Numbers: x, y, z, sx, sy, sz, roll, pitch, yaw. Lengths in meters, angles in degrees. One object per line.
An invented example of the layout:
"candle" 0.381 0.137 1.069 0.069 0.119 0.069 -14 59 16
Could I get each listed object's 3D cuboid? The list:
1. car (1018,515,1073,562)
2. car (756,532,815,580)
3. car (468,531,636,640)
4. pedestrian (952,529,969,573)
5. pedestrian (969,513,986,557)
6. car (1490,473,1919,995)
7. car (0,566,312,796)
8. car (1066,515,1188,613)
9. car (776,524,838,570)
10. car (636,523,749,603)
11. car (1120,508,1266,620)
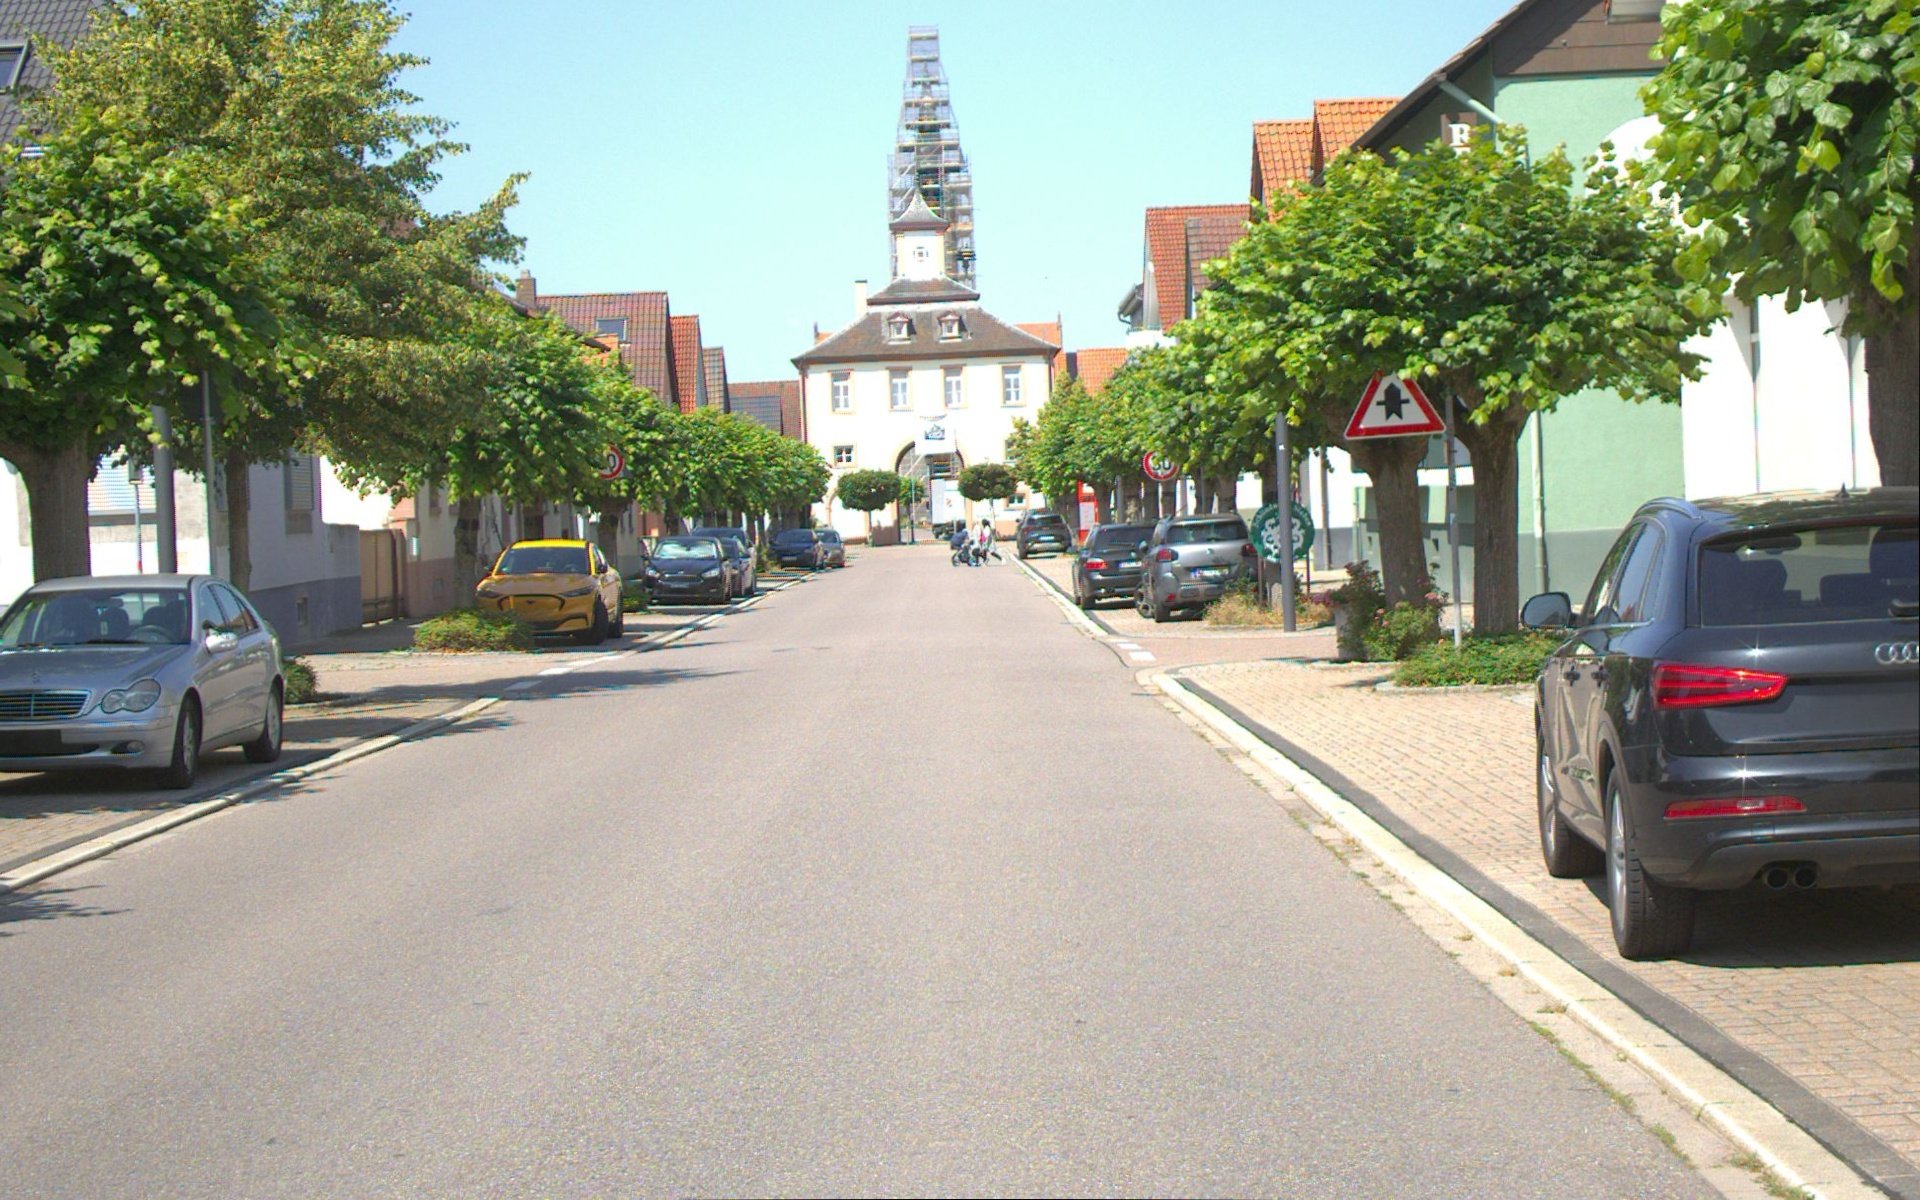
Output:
"car" 3.055 -2.217 123.704 1.837 1.550 4.314 -4 1 1
"car" -5.983 -1.518 118.195 1.757 1.550 4.020 -2 1 1
"car" -6.345 -0.265 53.935 1.993 1.606 4.689 -1 1 1
"pedestrian" 0.025 -1.560 110.352 0.358 1.398 0.319 -1 1 37
"pedestrian" 0.548 -2.063 109.374 0.358 1.398 0.319 -1 1 37
"car" 3.135 0.356 12.940 1.824 1.580 4.056 -4 2 4
"car" -5.887 0.503 24.150 1.840 1.391 4.407 -1 1 0
"car" 2.919 -0.665 60.896 1.837 1.550 4.314 -4 1 0
"car" -5.485 -1.898 123.928 1.993 1.606 3.855 -1 1 1
"car" -5.803 -0.827 75.013 1.993 1.606 4.689 -1 2 1
"car" 3.558 -0.575 53.140 1.837 1.602 4.000 -2 1 -1
